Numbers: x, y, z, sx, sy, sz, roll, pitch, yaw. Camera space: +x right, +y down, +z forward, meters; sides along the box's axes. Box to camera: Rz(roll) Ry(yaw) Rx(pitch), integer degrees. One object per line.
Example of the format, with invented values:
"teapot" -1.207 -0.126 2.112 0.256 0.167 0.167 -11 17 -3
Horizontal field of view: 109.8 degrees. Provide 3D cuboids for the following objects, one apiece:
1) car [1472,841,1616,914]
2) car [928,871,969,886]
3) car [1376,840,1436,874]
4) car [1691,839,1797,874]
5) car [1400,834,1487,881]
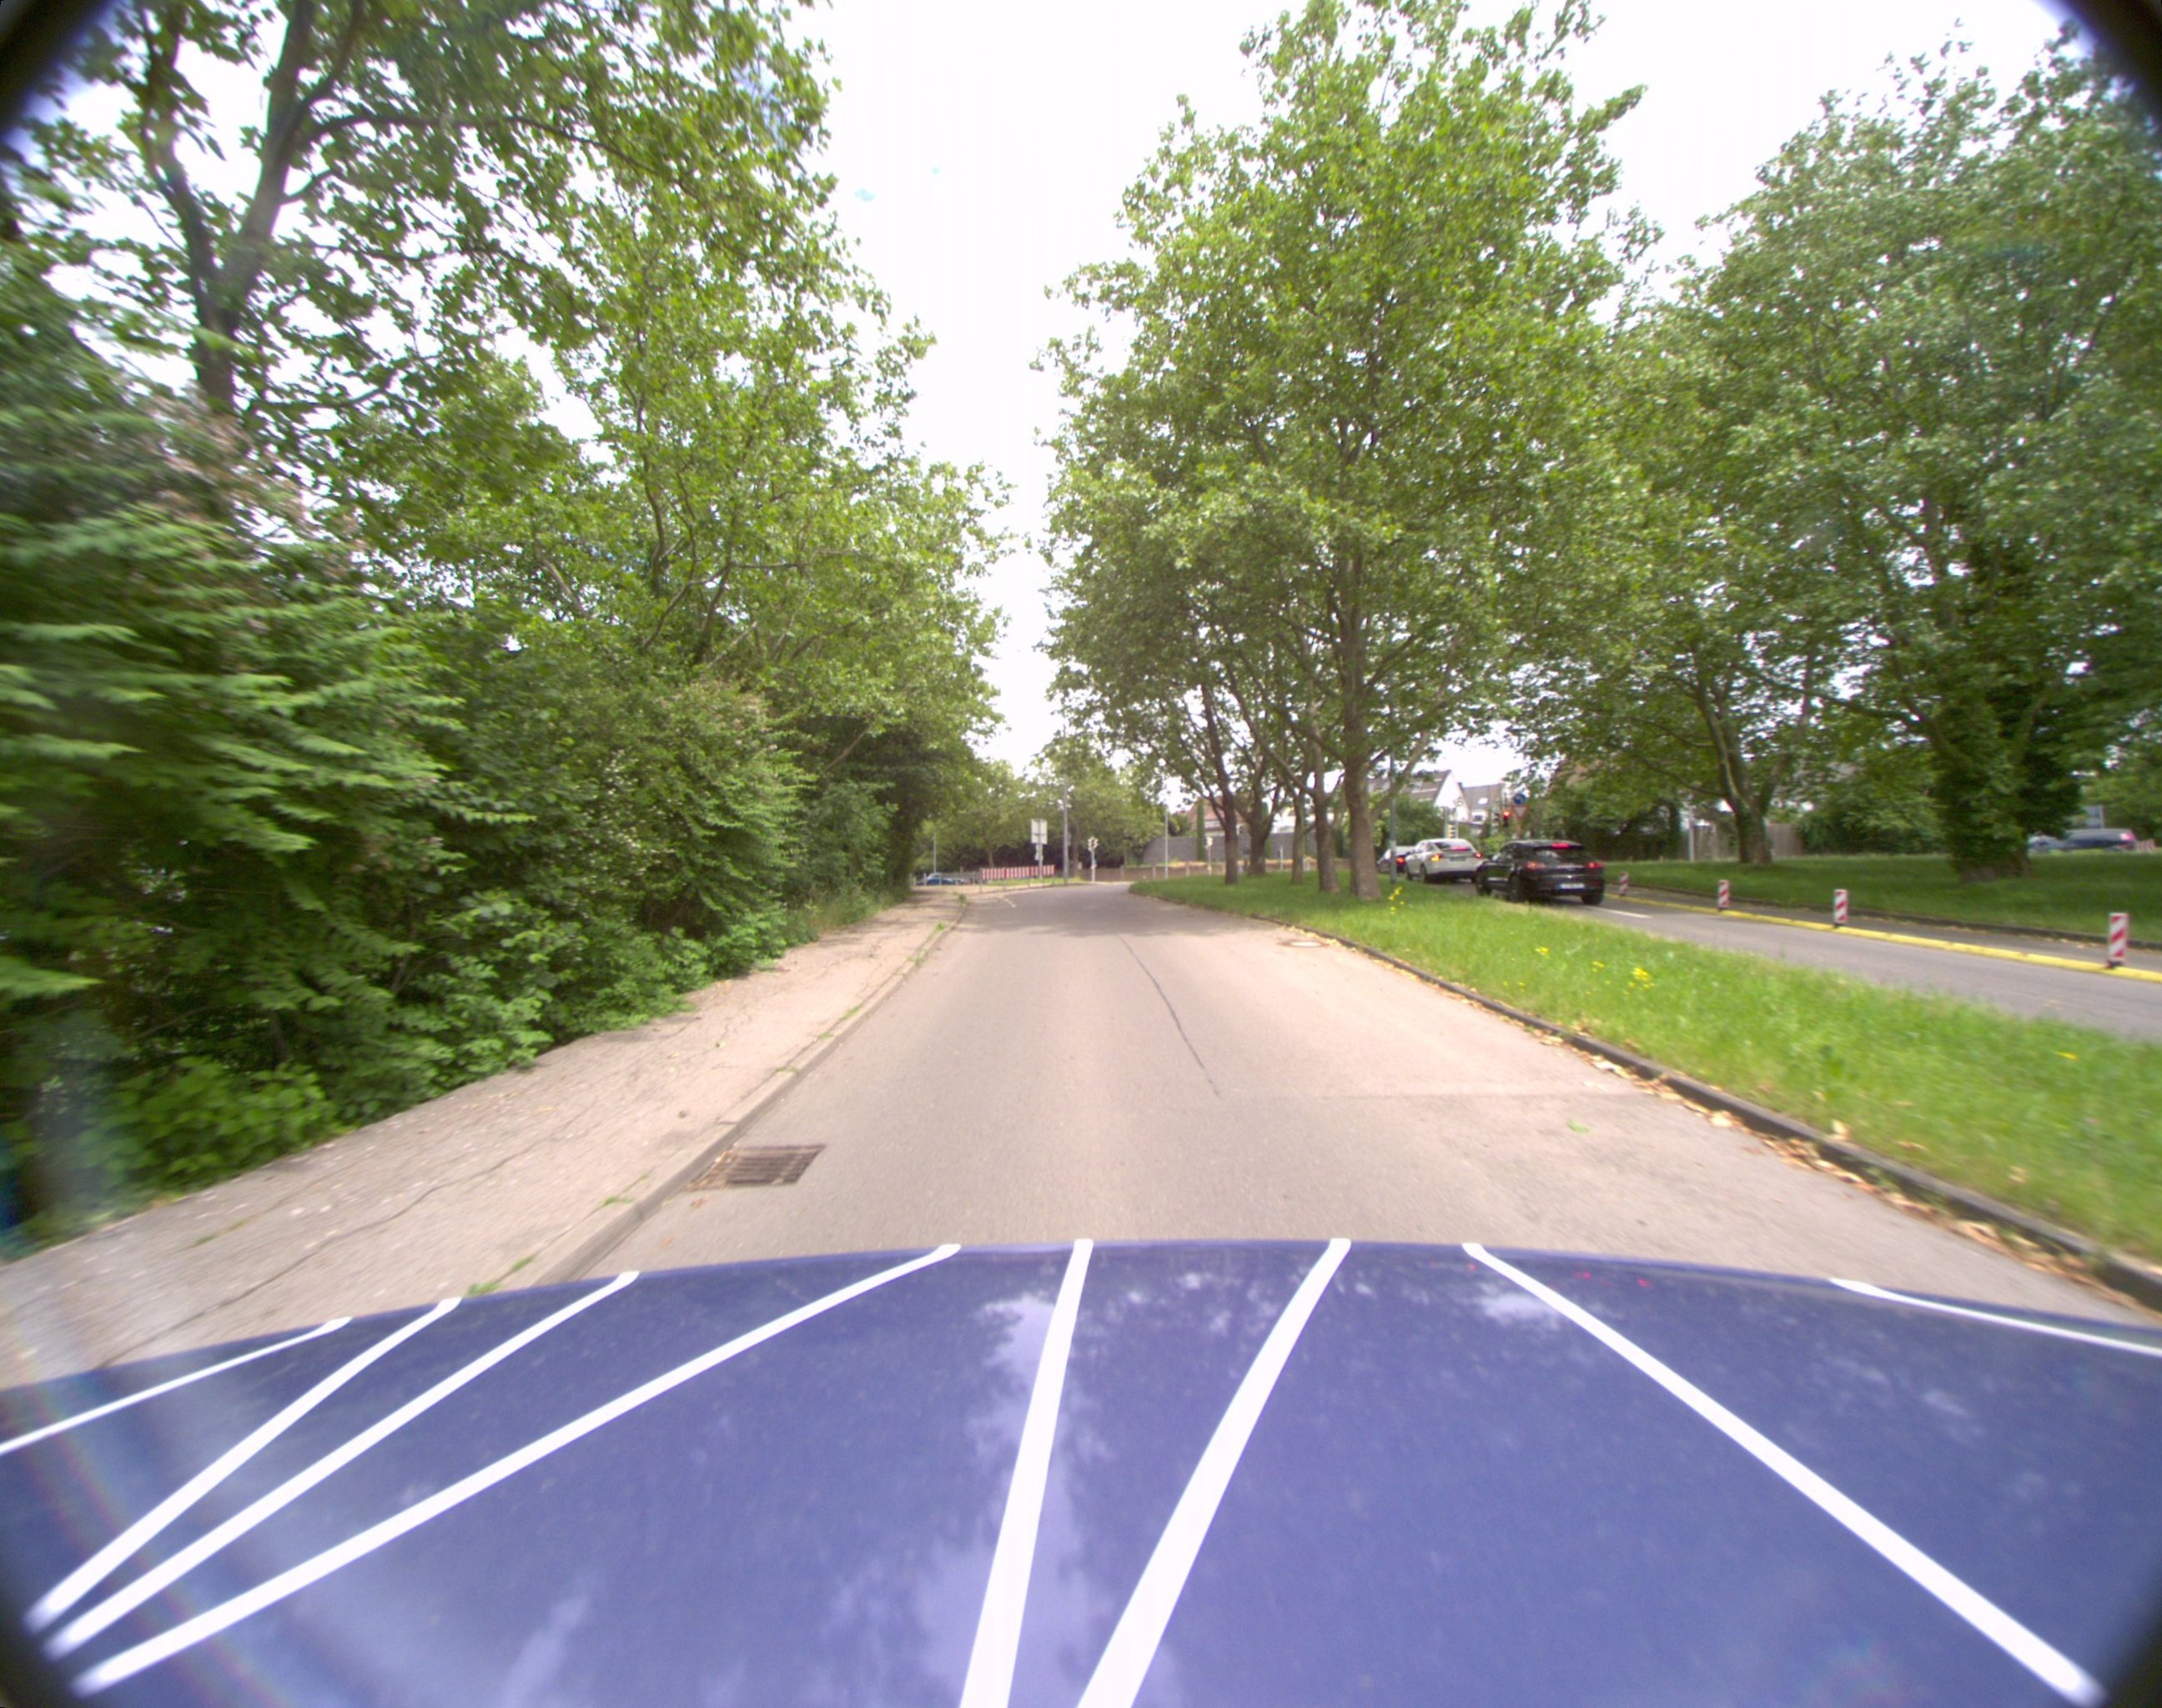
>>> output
"car" 11.983 0.524 20.034 1.760 1.582 4.615 -2 2 11
"car" -13.464 2.493 77.101 4.136 1.419 1.802 -3 -5 41
"car" 15.728 0.104 36.988 1.760 1.508 4.390 -2 0 11
"car" 31.979 0.114 36.777 3.636 1.515 1.654 2 -1 32
"car" 13.961 0.213 29.548 1.854 1.648 4.912 -2 -2 11
